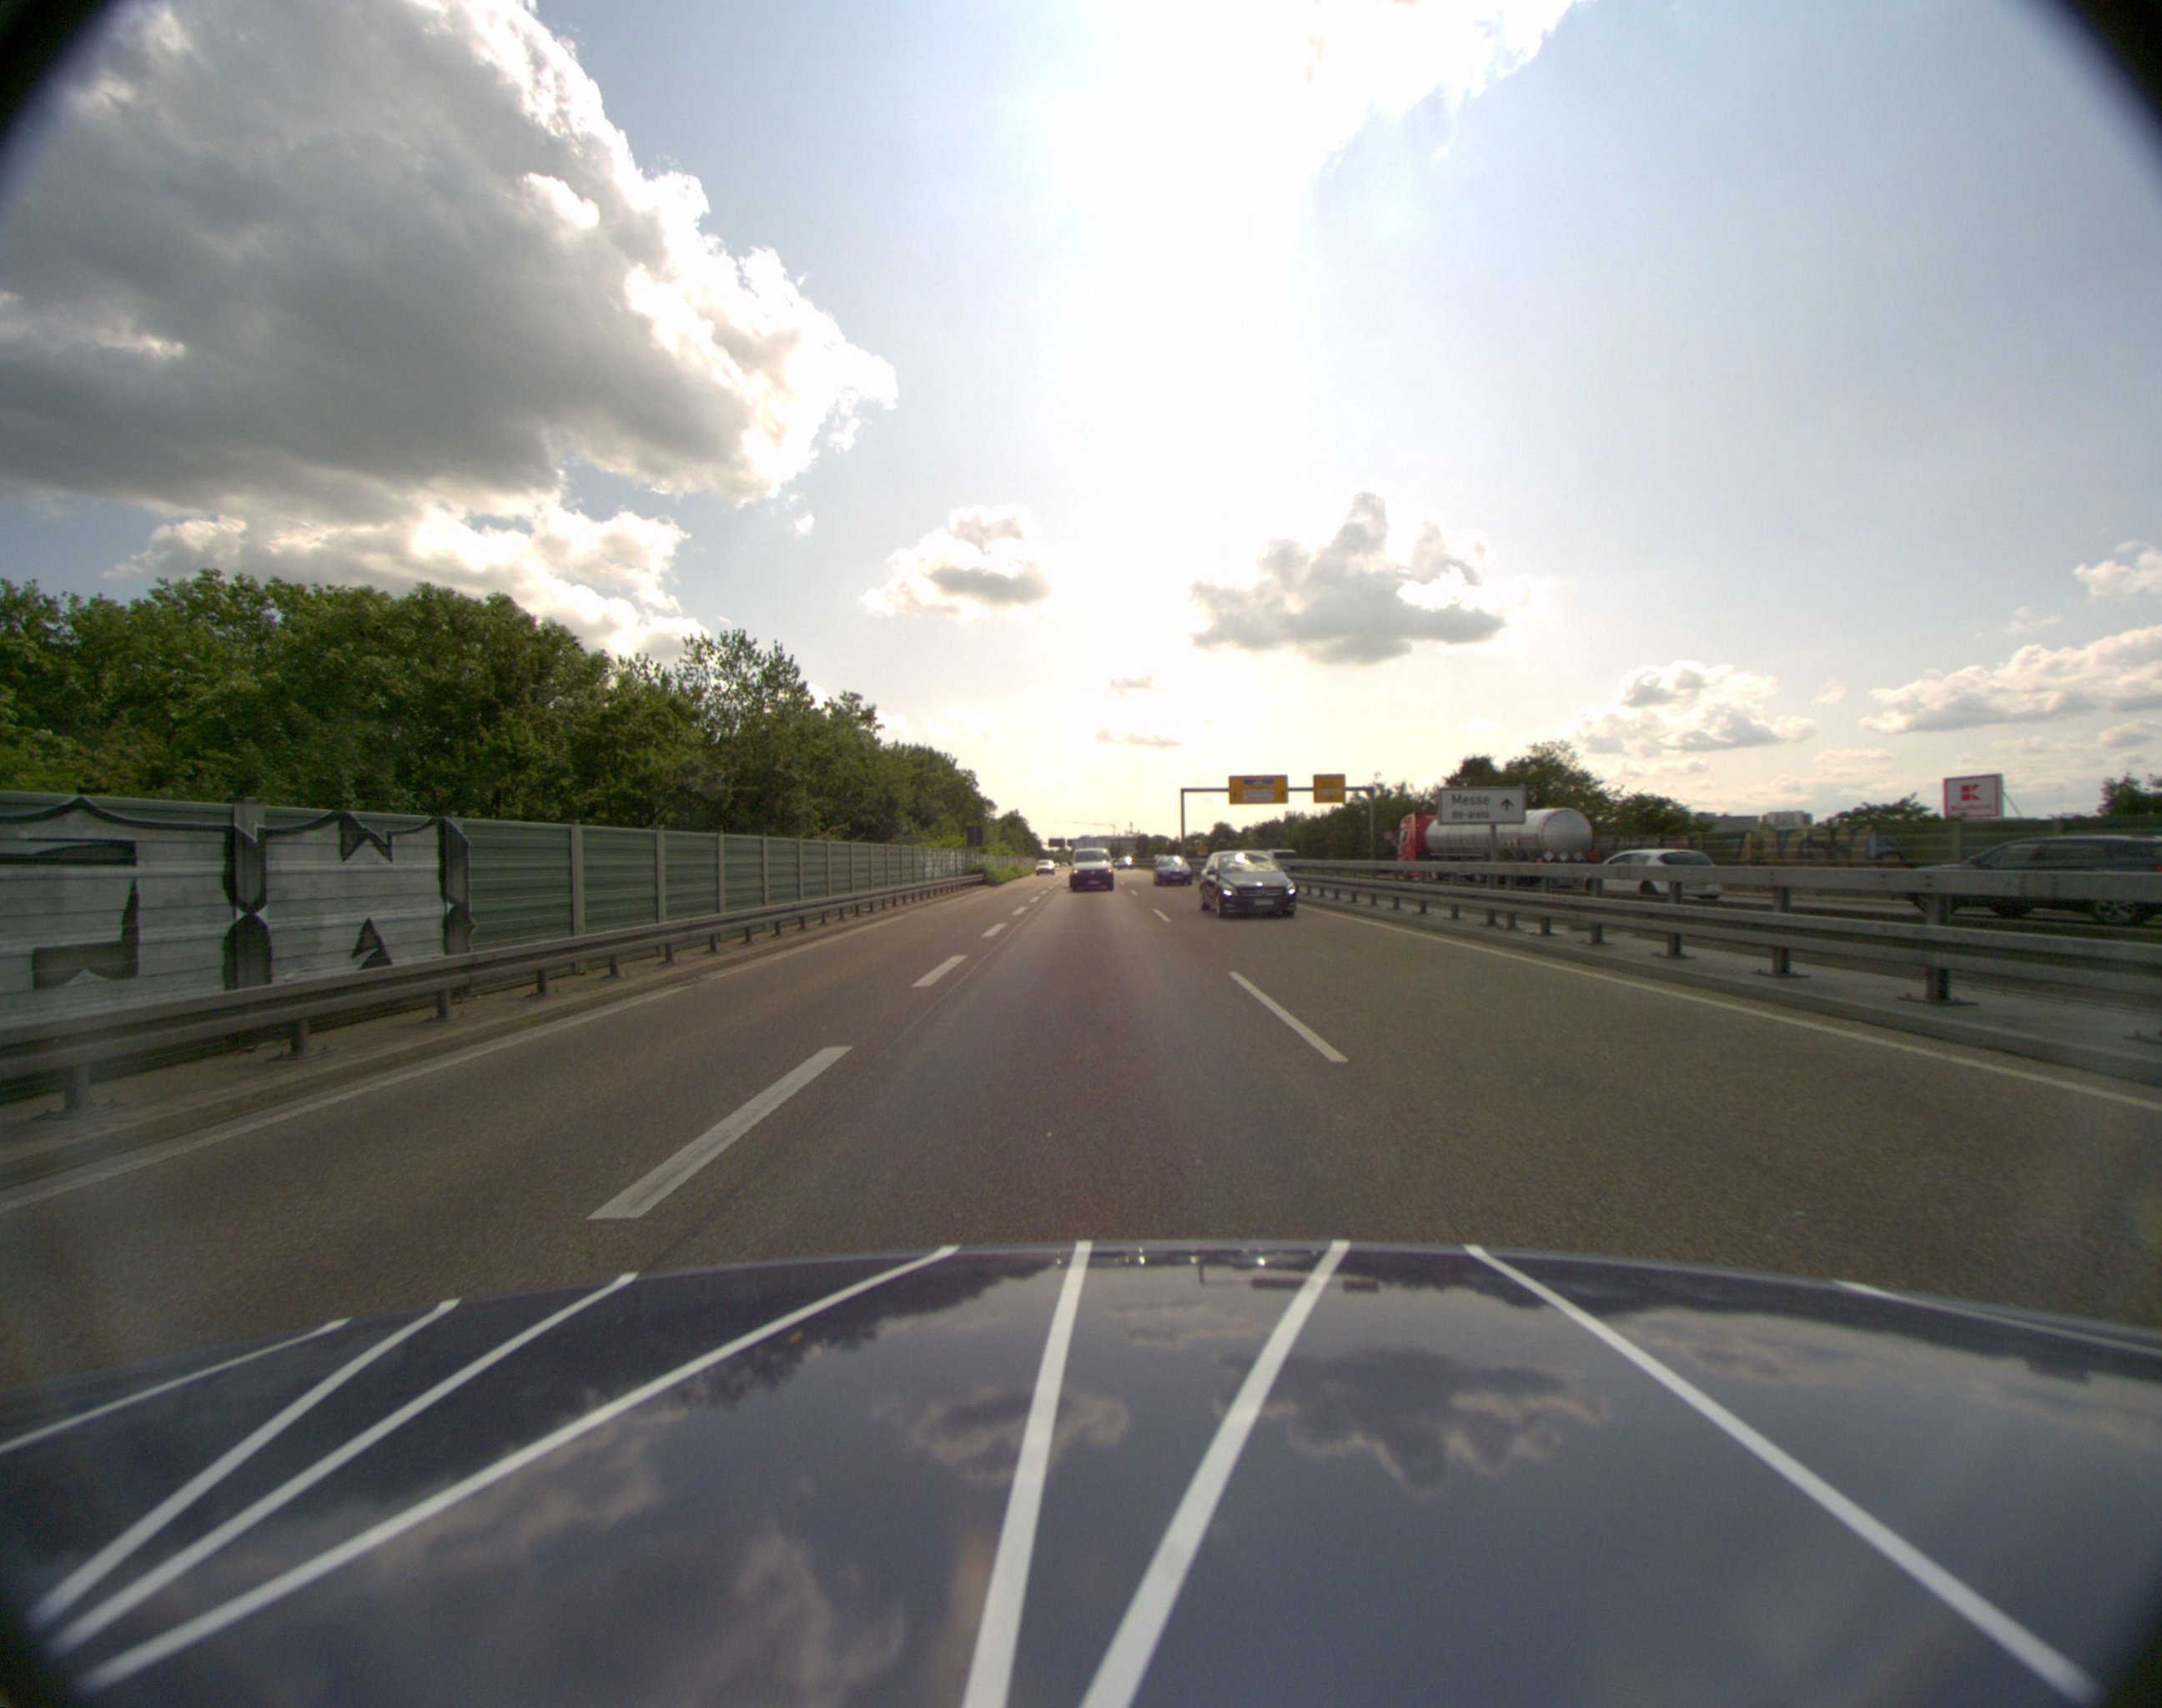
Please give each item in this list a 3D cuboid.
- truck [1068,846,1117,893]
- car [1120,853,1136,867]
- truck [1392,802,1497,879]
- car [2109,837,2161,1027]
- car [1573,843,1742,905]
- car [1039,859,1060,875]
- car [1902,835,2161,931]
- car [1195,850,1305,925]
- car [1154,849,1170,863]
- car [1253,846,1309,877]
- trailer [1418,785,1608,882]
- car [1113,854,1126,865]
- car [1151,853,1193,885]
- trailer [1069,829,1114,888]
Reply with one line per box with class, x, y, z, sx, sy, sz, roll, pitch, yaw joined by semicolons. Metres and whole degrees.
truck;0.528;0.638;33.991;2.008;1.905;4.000;-2;0;1
car;5.619;0.722;91.330;1.779;1.518;4.464;-3;1;1
truck;19.449;-0.709;41.132;2.654;3.760;6.232;-3;1;1
car;11.494;0.749;5.650;1.998;1.846;4.239;-3;1;2
car;16.137;0.496;21.562;1.787;1.500;3.959;-3;1;1
car;-3.060;1.237;74.108;1.768;1.403;3.771;-3;1;1
car;19.087;0.476;14.724;1.719;1.610;4.281;0;1;1
car;4.020;0.721;18.783;1.716;1.518;4.592;-3;1;1
car;13.217;0.234;124.103;2.085;1.978;5.226;-1;3;-1
car;12.247;0.436;46.849;1.999;1.740;4.595;-3;1;-3
trailer;19.299;-0.853;35.141;2.691;3.648;11.028;-3;1;2
car;6.006;0.890;118.592;1.895;1.518;4.464;-3;1;1
car;4.459;0.702;37.634;1.625;1.403;3.771;-3;1;1
trailer;0.534;0.198;39.073;1.998;2.723;5.966;-3;1;0
